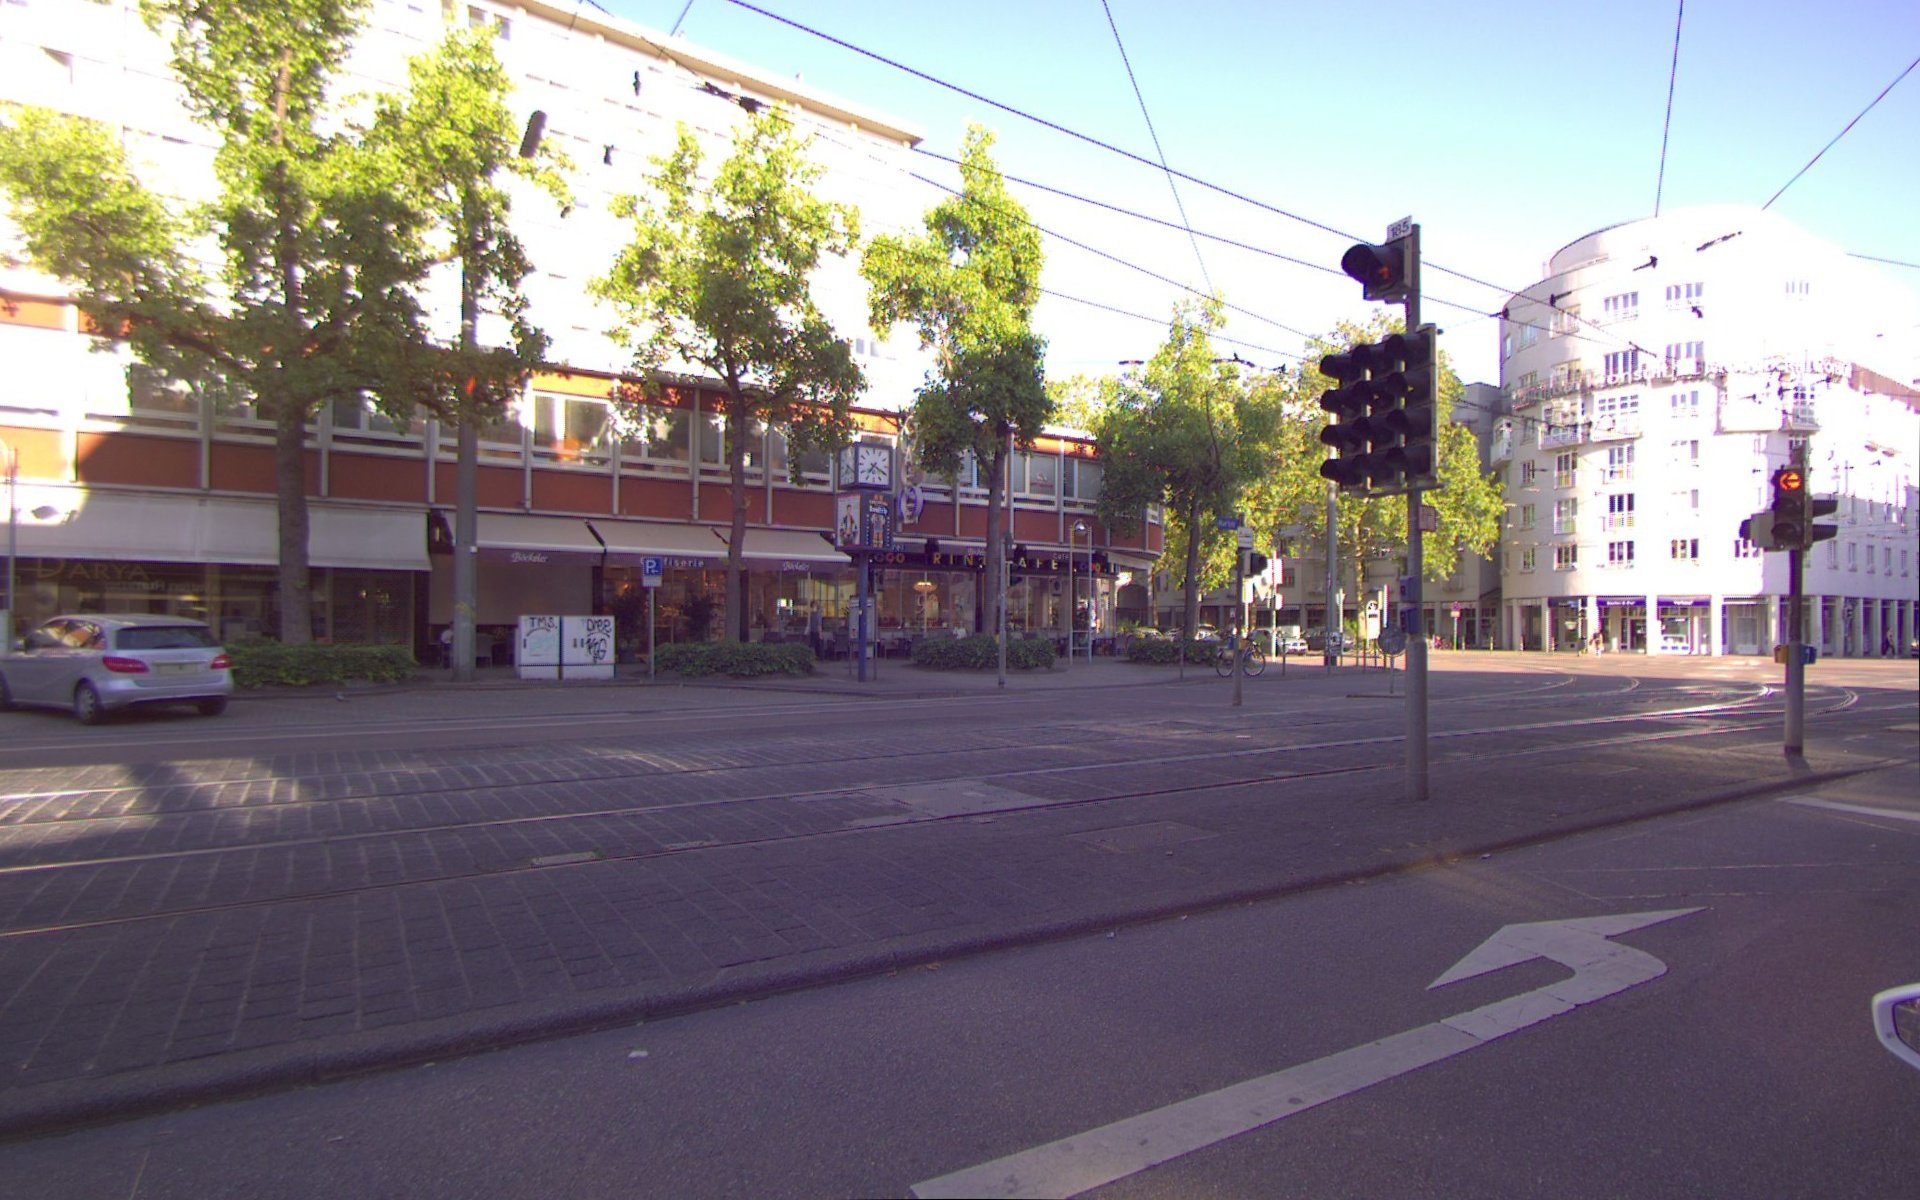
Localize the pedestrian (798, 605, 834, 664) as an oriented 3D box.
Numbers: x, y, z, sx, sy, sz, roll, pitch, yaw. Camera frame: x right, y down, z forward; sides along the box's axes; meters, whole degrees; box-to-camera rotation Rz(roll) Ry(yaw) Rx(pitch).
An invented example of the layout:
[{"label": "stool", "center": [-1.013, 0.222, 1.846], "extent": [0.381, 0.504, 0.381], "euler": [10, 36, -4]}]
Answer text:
[{"label": "pedestrian", "center": [-4.355, 1.019, 30.280], "extent": [0.866, 1.745, 0.700], "euler": [0, 1, -34]}]

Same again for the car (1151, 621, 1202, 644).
[{"label": "car", "center": [18.542, 2.776, 86.000], "extent": [3.954, 1.990, 1.984], "euler": [1, -1, -31]}]

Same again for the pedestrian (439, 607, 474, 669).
[{"label": "pedestrian", "center": [-13.013, 0.977, 25.963], "extent": [0.699, 1.584, 0.867], "euler": [1, -1, -33]}]

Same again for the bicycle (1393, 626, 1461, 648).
[{"label": "bicycle", "center": [33.055, 2.605, 71.198], "extent": [1.053, 1.550, 4.684], "euler": [1, -2, -28]}]

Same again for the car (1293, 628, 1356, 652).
[{"label": "car", "center": [24.271, 2.644, 67.002], "extent": [1.595, 1.551, 3.973], "euler": [0, -1, -27]}]

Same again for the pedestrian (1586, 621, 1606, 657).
[{"label": "pedestrian", "center": [36.426, 2.246, 57.556], "extent": [0.930, 2.040, 0.939], "euler": [0, -1, 30]}]

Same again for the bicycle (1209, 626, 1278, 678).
[{"label": "bicycle", "center": [7.805, 1.419, 27.622], "extent": [1.884, 1.345, 0.667], "euler": [1, 2, -30]}]

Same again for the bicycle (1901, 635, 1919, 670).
[{"label": "bicycle", "center": [32.272, 1.742, 33.652], "extent": [2.032, 1.162, 0.801], "euler": [1, -2, -39]}]

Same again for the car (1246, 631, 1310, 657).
[{"label": "car", "center": [16.974, 2.336, 53.773], "extent": [1.738, 1.312, 4.014], "euler": [0, -2, -7]}]

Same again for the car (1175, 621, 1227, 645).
[{"label": "car", "center": [20.023, 2.735, 83.489], "extent": [3.954, 1.990, 1.984], "euler": [1, -1, -31]}]

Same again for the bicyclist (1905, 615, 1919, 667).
[{"label": "bicyclist", "center": [32.379, 1.373, 33.746], "extent": [0.787, 1.749, 0.801], "euler": [1, -2, -38]}]

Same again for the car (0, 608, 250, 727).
[{"label": "car", "center": [-13.410, 0.979, 15.837], "extent": [4.200, 1.587, 1.825], "euler": [1, -1, 26]}]

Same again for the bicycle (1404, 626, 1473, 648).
[{"label": "bicycle", "center": [34.085, 2.612, 71.662], "extent": [1.053, 1.550, 4.684], "euler": [1, -2, -28]}]

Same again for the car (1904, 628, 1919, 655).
[{"label": "car", "center": [58.498, 2.500, 60.373], "extent": [3.423, 1.566, 1.756], "euler": [1, -2, -32]}]

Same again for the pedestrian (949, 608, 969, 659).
[{"label": "pedestrian", "center": [-0.040, 1.148, 35.053], "extent": [0.590, 1.745, 0.647], "euler": [0, 1, -14]}]

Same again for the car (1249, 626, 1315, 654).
[{"label": "car", "center": [18.839, 2.329, 58.886], "extent": [1.605, 1.579, 4.001], "euler": [0, -2, -19]}]

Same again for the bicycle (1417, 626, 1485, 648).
[{"label": "bicycle", "center": [35.378, 2.652, 72.490], "extent": [1.053, 1.550, 4.684], "euler": [1, -2, -28]}]

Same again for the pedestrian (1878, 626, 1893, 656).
[{"label": "pedestrian", "center": [52.524, 2.313, 57.006], "extent": [0.482, 1.704, 0.520], "euler": [1, -1, -40]}]
